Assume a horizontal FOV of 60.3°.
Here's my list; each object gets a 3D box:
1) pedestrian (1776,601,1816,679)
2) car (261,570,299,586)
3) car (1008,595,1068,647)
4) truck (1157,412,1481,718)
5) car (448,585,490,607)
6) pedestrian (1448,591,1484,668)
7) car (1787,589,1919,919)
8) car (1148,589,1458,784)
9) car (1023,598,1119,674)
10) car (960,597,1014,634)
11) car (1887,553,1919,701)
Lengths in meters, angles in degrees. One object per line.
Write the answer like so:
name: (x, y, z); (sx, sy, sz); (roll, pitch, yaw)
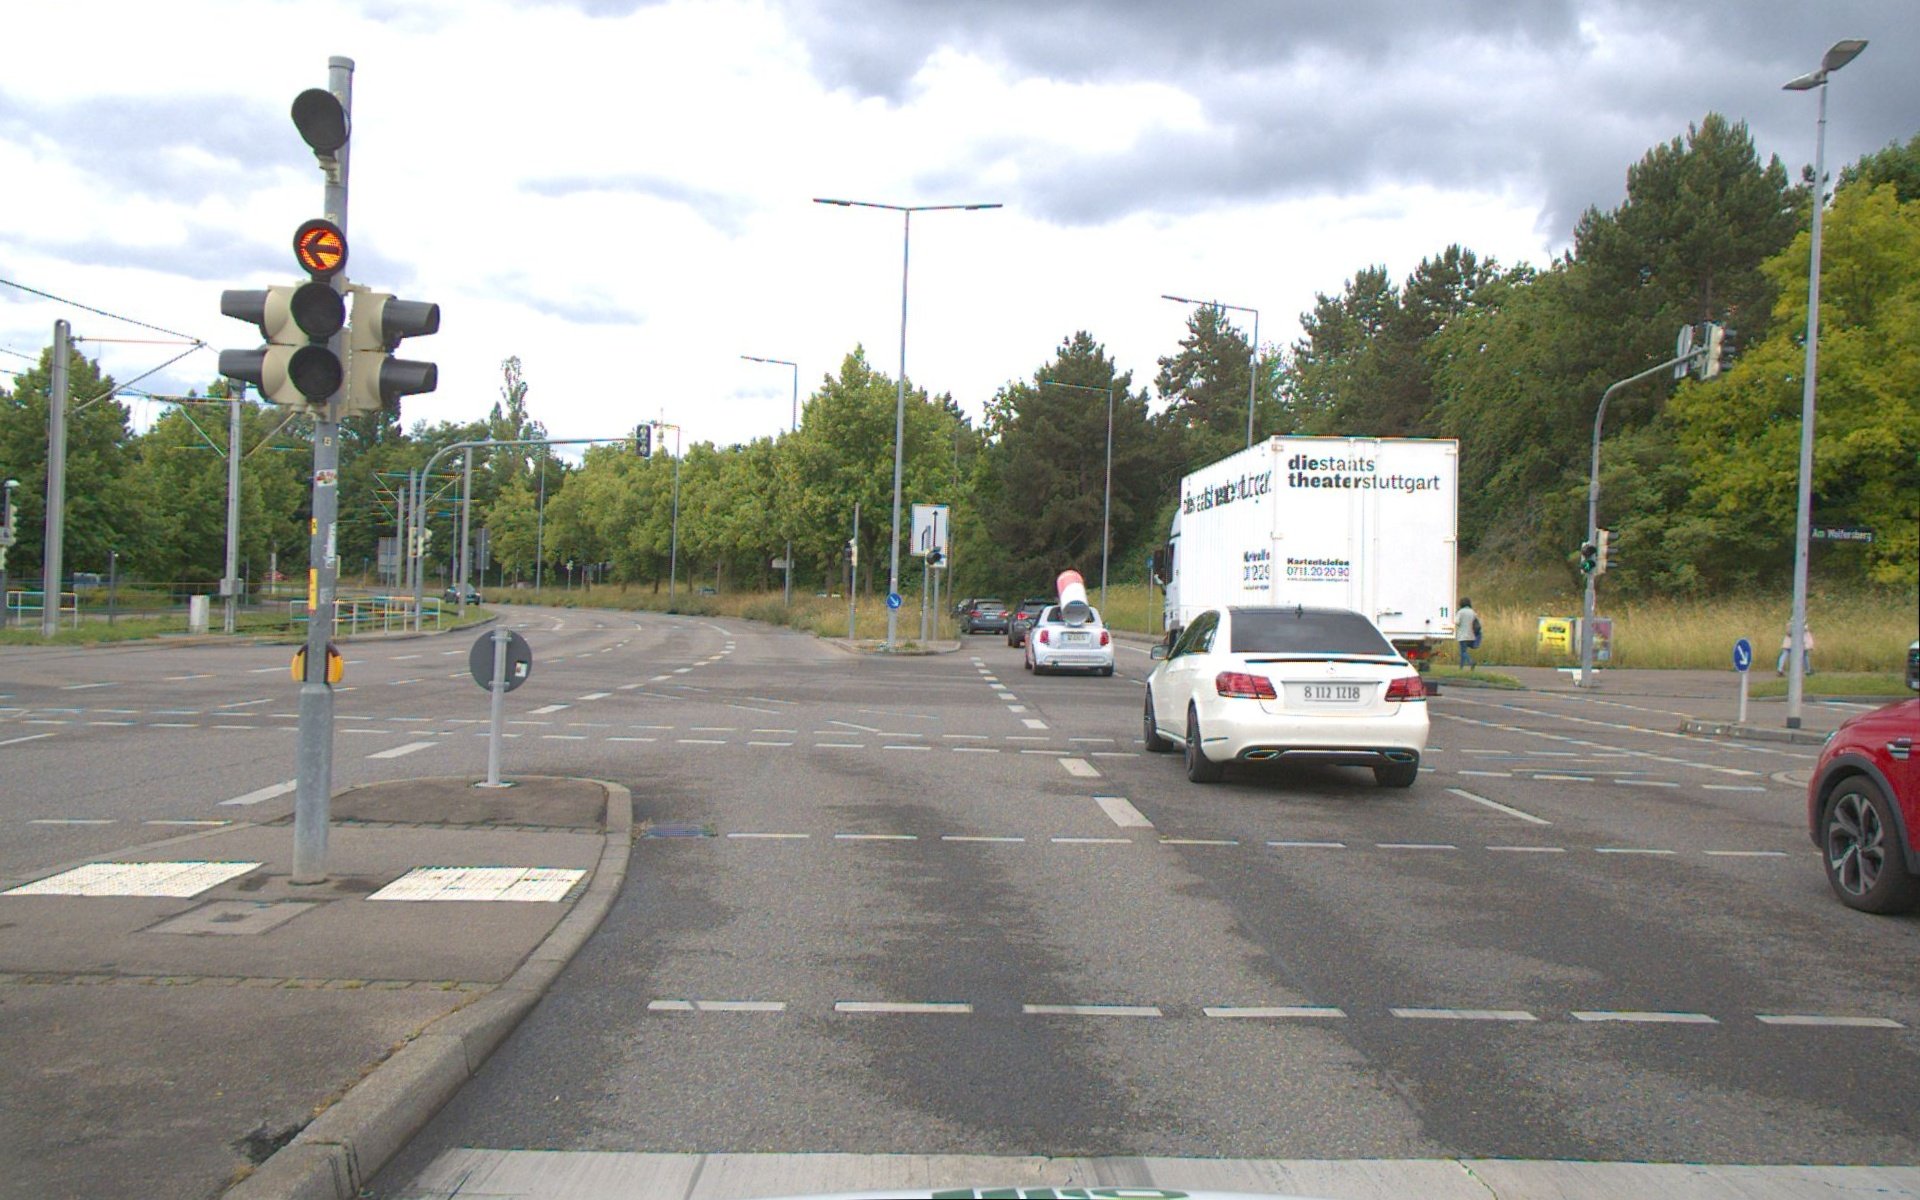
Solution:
pedestrian: (17.978, 0.852, 35.579); (0.630, 1.640, 0.714); (1, -1, 17)
car: (-71.372, -2.327, 173.582); (3.806, 1.631, 1.785); (1, -1, 33)
car: (2.424, 0.635, 52.248); (1.591, 1.519, 3.836); (1, 0, -2)
truck: (5.322, -0.508, 26.787); (2.746, 3.971, 10.179); (1, 1, -1)
car: (-36.945, -0.328, 124.410); (1.781, 1.615, 3.949); (1, 0, -36)
pedestrian: (11.282, 0.659, 36.911); (0.630, 1.691, 0.714); (1, -1, 6)
car: (5.472, 0.754, 6.877); (1.809, 1.556, 4.376); (1, 0, -1)
car: (2.820, 0.662, 14.560); (1.763, 1.436, 4.316); (1, 0, -1)
car: (2.328, 0.742, 35.437); (1.784, 1.532, 3.494); (1, 0, 0)
car: (1.155, 0.651, 72.880); (1.714, 1.534, 4.040); (1, 0, -9)
car: (20.279, 0.536, 30.072); (5.685, 2.676, 2.000); (1, -1, 1)
